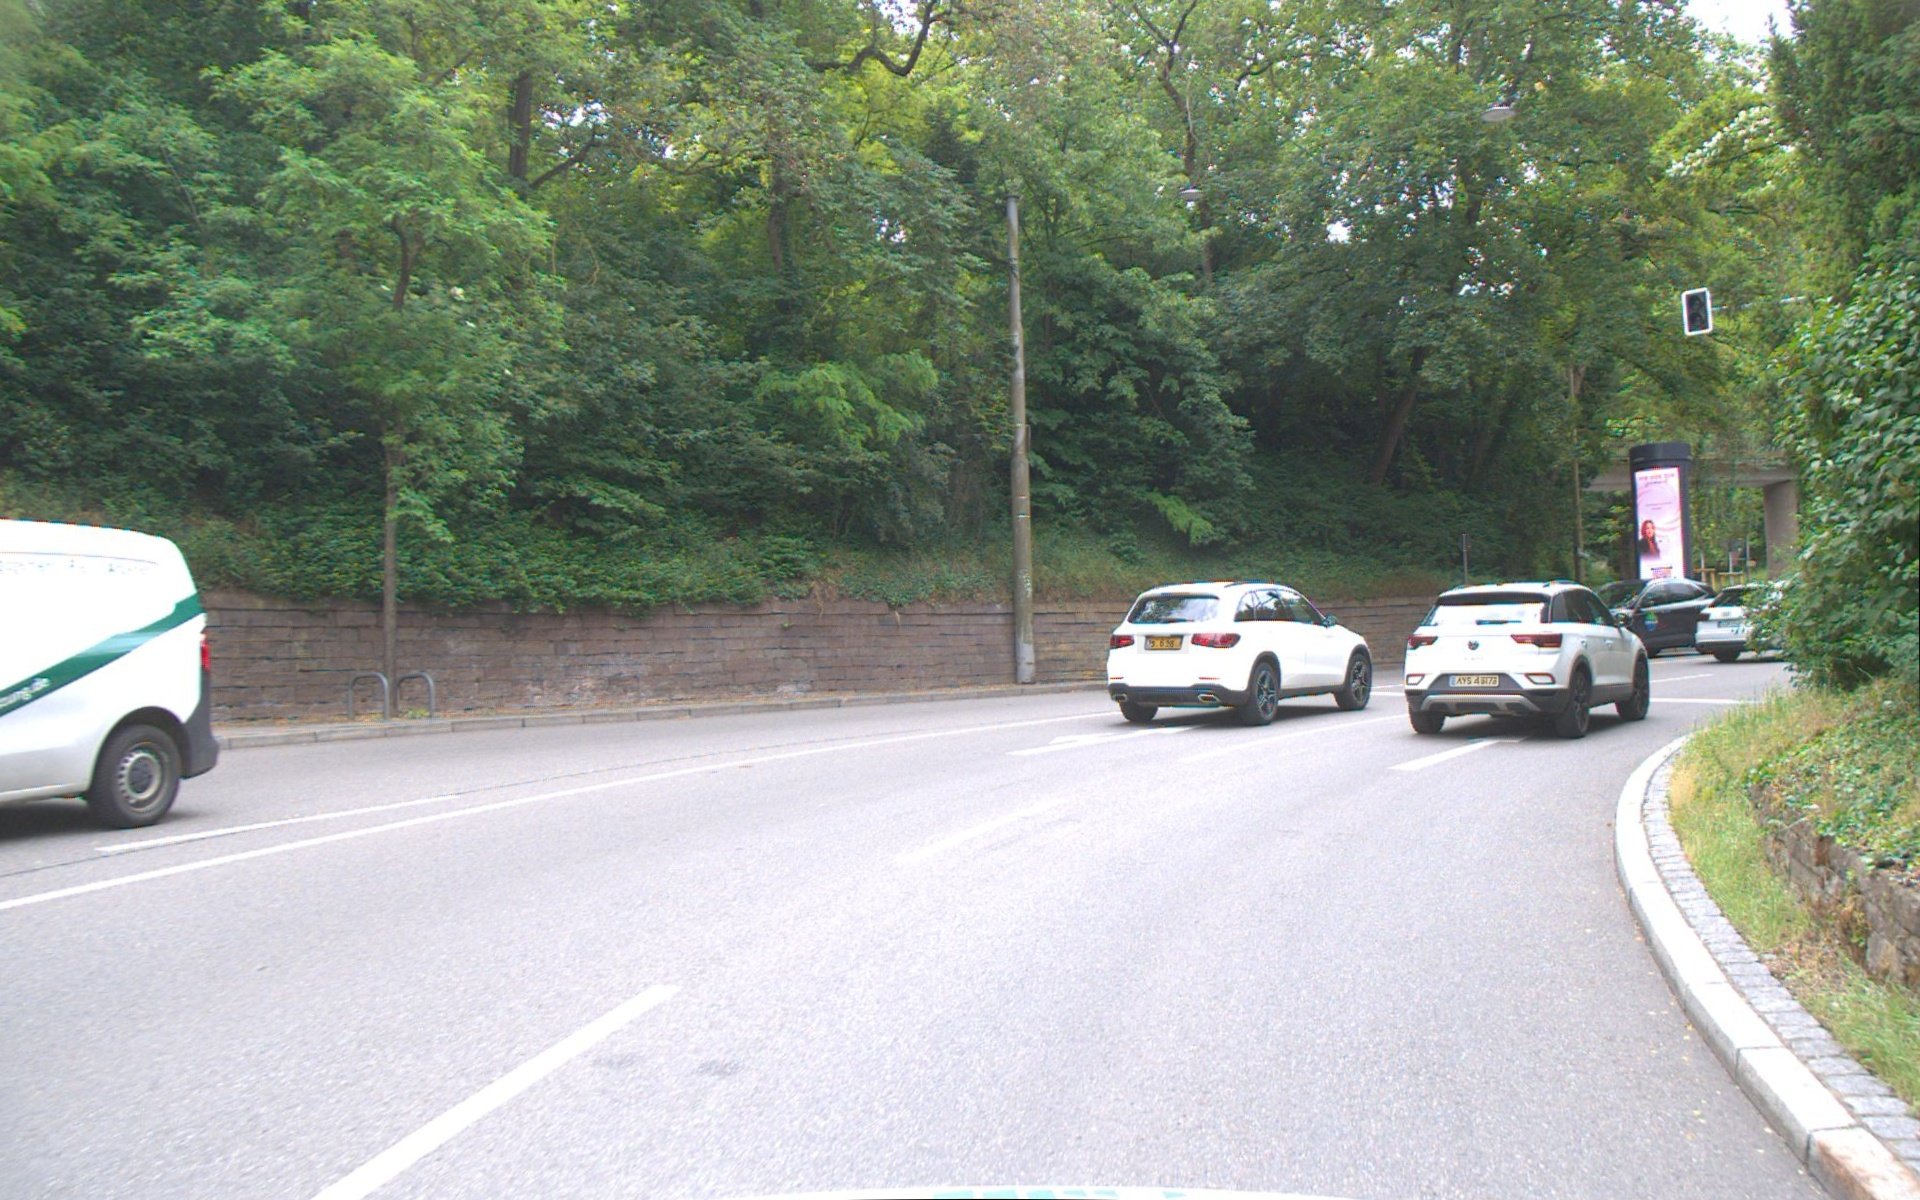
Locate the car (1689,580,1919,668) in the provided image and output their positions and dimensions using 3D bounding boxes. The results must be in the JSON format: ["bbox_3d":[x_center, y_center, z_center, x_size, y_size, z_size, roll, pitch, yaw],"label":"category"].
[{"bbox_3d":[16.387,0.428,31.640,4.701,1.561,1.856,-1,-1,-26],"label":"car"}]

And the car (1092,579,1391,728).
[{"bbox_3d":[3.627,0.582,20.591,1.827,1.634,4.654,-1,0,35],"label":"car"}]

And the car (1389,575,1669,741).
[{"bbox_3d":[6.388,0.553,18.263,1.725,1.580,4.321,-2,0,36],"label":"car"}]

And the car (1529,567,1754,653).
[{"bbox_3d":[14.551,0.214,35.289,4.575,1.653,1.746,-2,-1,-25],"label":"car"}]

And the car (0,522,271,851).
[{"bbox_3d":[-6.172,0.428,8.978,1.784,1.795,4.671,3,0,19],"label":"car"}]
